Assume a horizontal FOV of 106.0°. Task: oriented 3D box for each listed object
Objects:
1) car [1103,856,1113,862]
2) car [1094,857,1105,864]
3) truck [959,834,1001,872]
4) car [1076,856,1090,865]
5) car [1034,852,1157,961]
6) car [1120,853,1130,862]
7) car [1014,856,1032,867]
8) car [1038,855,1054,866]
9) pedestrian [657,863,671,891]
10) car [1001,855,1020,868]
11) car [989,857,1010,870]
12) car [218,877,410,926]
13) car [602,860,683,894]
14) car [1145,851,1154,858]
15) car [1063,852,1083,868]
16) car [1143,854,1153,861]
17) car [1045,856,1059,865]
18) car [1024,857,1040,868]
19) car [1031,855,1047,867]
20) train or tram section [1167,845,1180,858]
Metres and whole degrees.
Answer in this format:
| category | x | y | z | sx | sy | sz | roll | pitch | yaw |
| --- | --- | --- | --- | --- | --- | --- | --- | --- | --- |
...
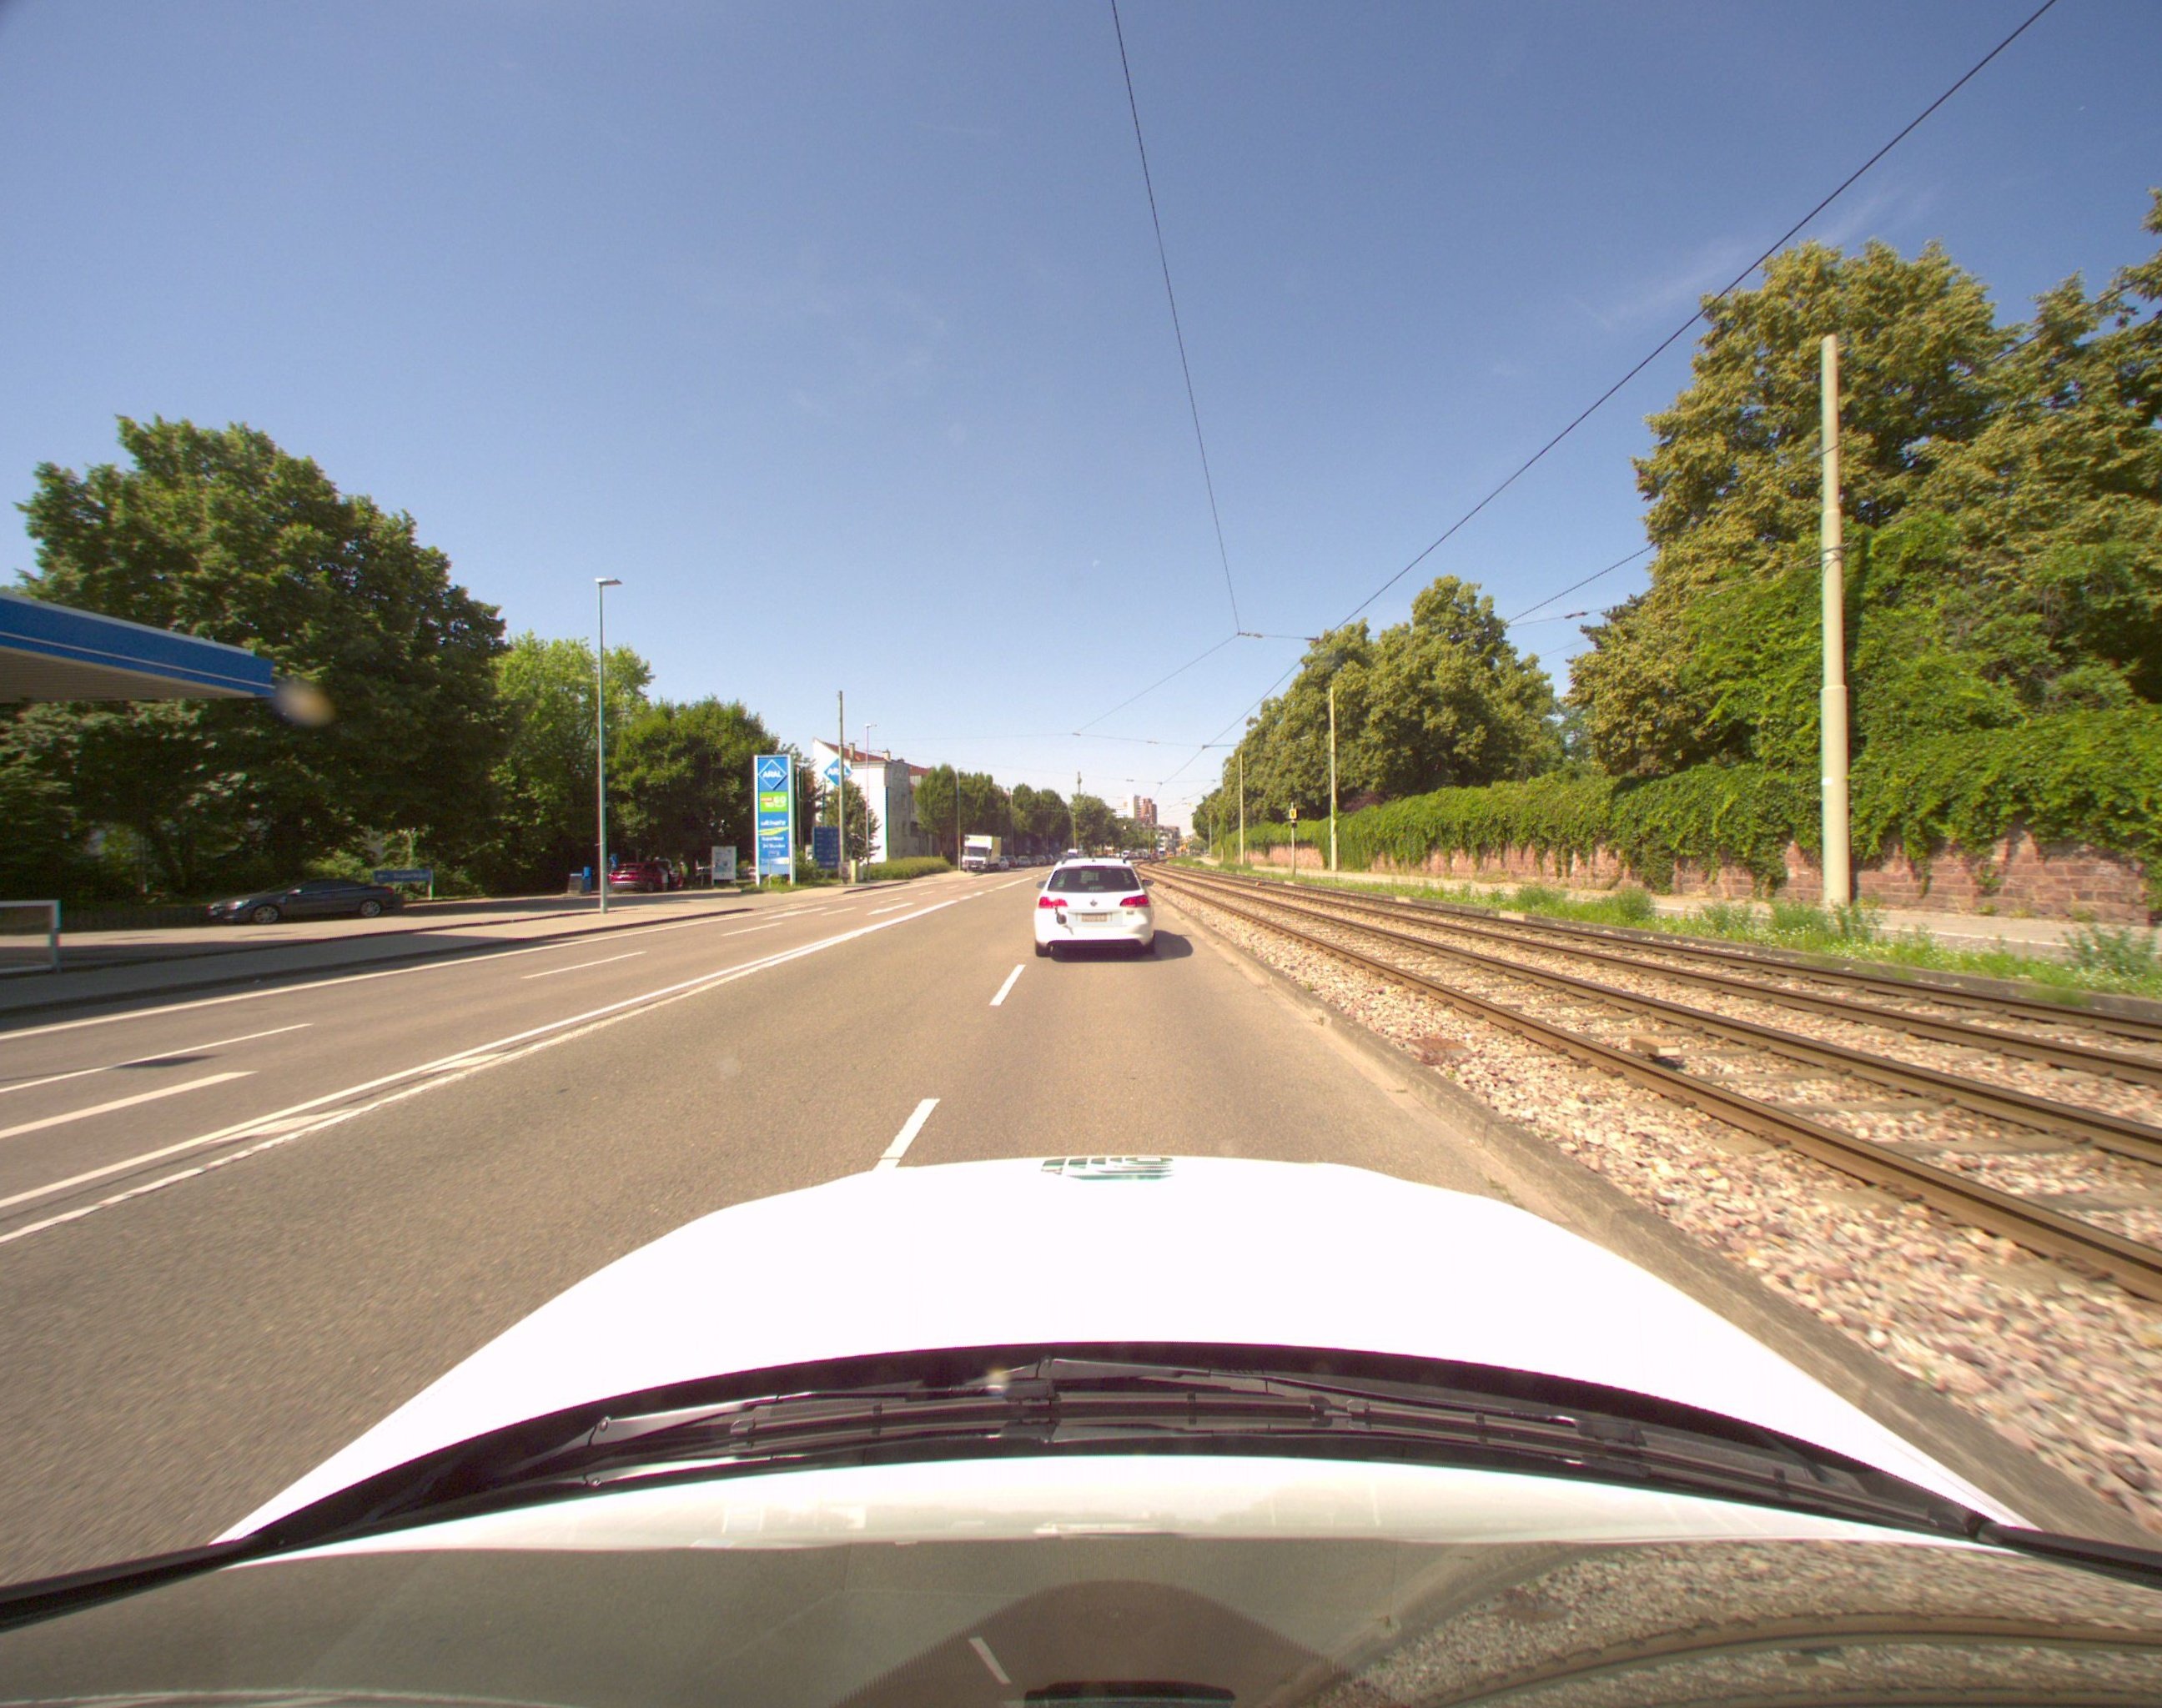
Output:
| category | x | y | z | sx | sy | sz | roll | pitch | yaw |
| --- | --- | --- | --- | --- | --- | --- | --- | --- | --- |
| car | 6.481 | 1.164 | 194.878 | 1.688 | 1.352 | 4.015 | -1 | 0 | 13 |
| car | 4.157 | 1.383 | 182.150 | 1.688 | 1.417 | 4.015 | -1 | 0 | 13 |
| truck | -9.672 | -0.088 | 78.943 | 2.656 | 3.530 | 8.594 | 1 | 0 | 2 |
| car | 0.303 | 1.049 | 131.452 | 1.650 | 1.420 | 4.318 | -3 | 0 | 7 |
| car | 0.237 | 0.711 | 13.315 | 1.685 | 1.451 | 4.459 | 0 | 0 | 1 |
| car | 12.480 | 0.937 | 228.699 | 1.867 | 2.415 | 5.135 | -1 | 0 | 13 |
| car | -7.809 | 1.039 | 109.842 | 1.773 | 1.483 | 4.861 | 0 | -1 | 3 |
| car | -5.491 | 1.005 | 127.835 | 1.761 | 1.723 | 4.877 | 1 | 0 | 5 |
| pedestrian | -22.821 | 1.251 | 44.558 | 0.497 | 1.481 | 0.500 | -1 | 0 | 1 |
| car | -8.537 | 0.859 | 99.104 | 1.724 | 1.552 | 4.321 | 0 | 0 | 3 |
| car | -9.040 | 1.023 | 90.821 | 1.751 | 1.429 | 4.284 | 0 | 0 | 2 |
| car | -25.324 | 1.511 | 27.088 | 1.783 | 1.345 | 4.268 | -1 | 0 | 24 |
| car | -23.601 | 1.211 | 44.077 | 1.793 | 1.570 | 4.519 | -1 | 1 | 1 |
| car | 15.560 | 0.061 | 184.631 | 1.790 | 1.460 | 4.011 | 0 | 0 | 9 |
| car | -0.804 | 0.621 | 84.462 | 1.792 | 1.507 | 4.005 | 0 | 1 | 4 |
| car | 14.683 | 0.732 | 178.455 | 1.790 | 1.507 | 4.011 | 0 | 0 | 9 |
| car | -4.750 | 1.098 | 133.280 | 1.681 | 1.474 | 4.057 | 2 | 0 | 8 |
| car | -6.983 | 1.198 | 116.380 | 1.715 | 1.474 | 4.721 | 1 | 0 | 5 |
| car | -6.272 | 1.043 | 122.334 | 1.708 | 1.625 | 4.320 | 0 | 0 | 6 |
| train or tram section | 28.531 | -0.709 | 249.711 | 2.494 | 3.747 | 13.355 | -1 | 0 | 12 |
